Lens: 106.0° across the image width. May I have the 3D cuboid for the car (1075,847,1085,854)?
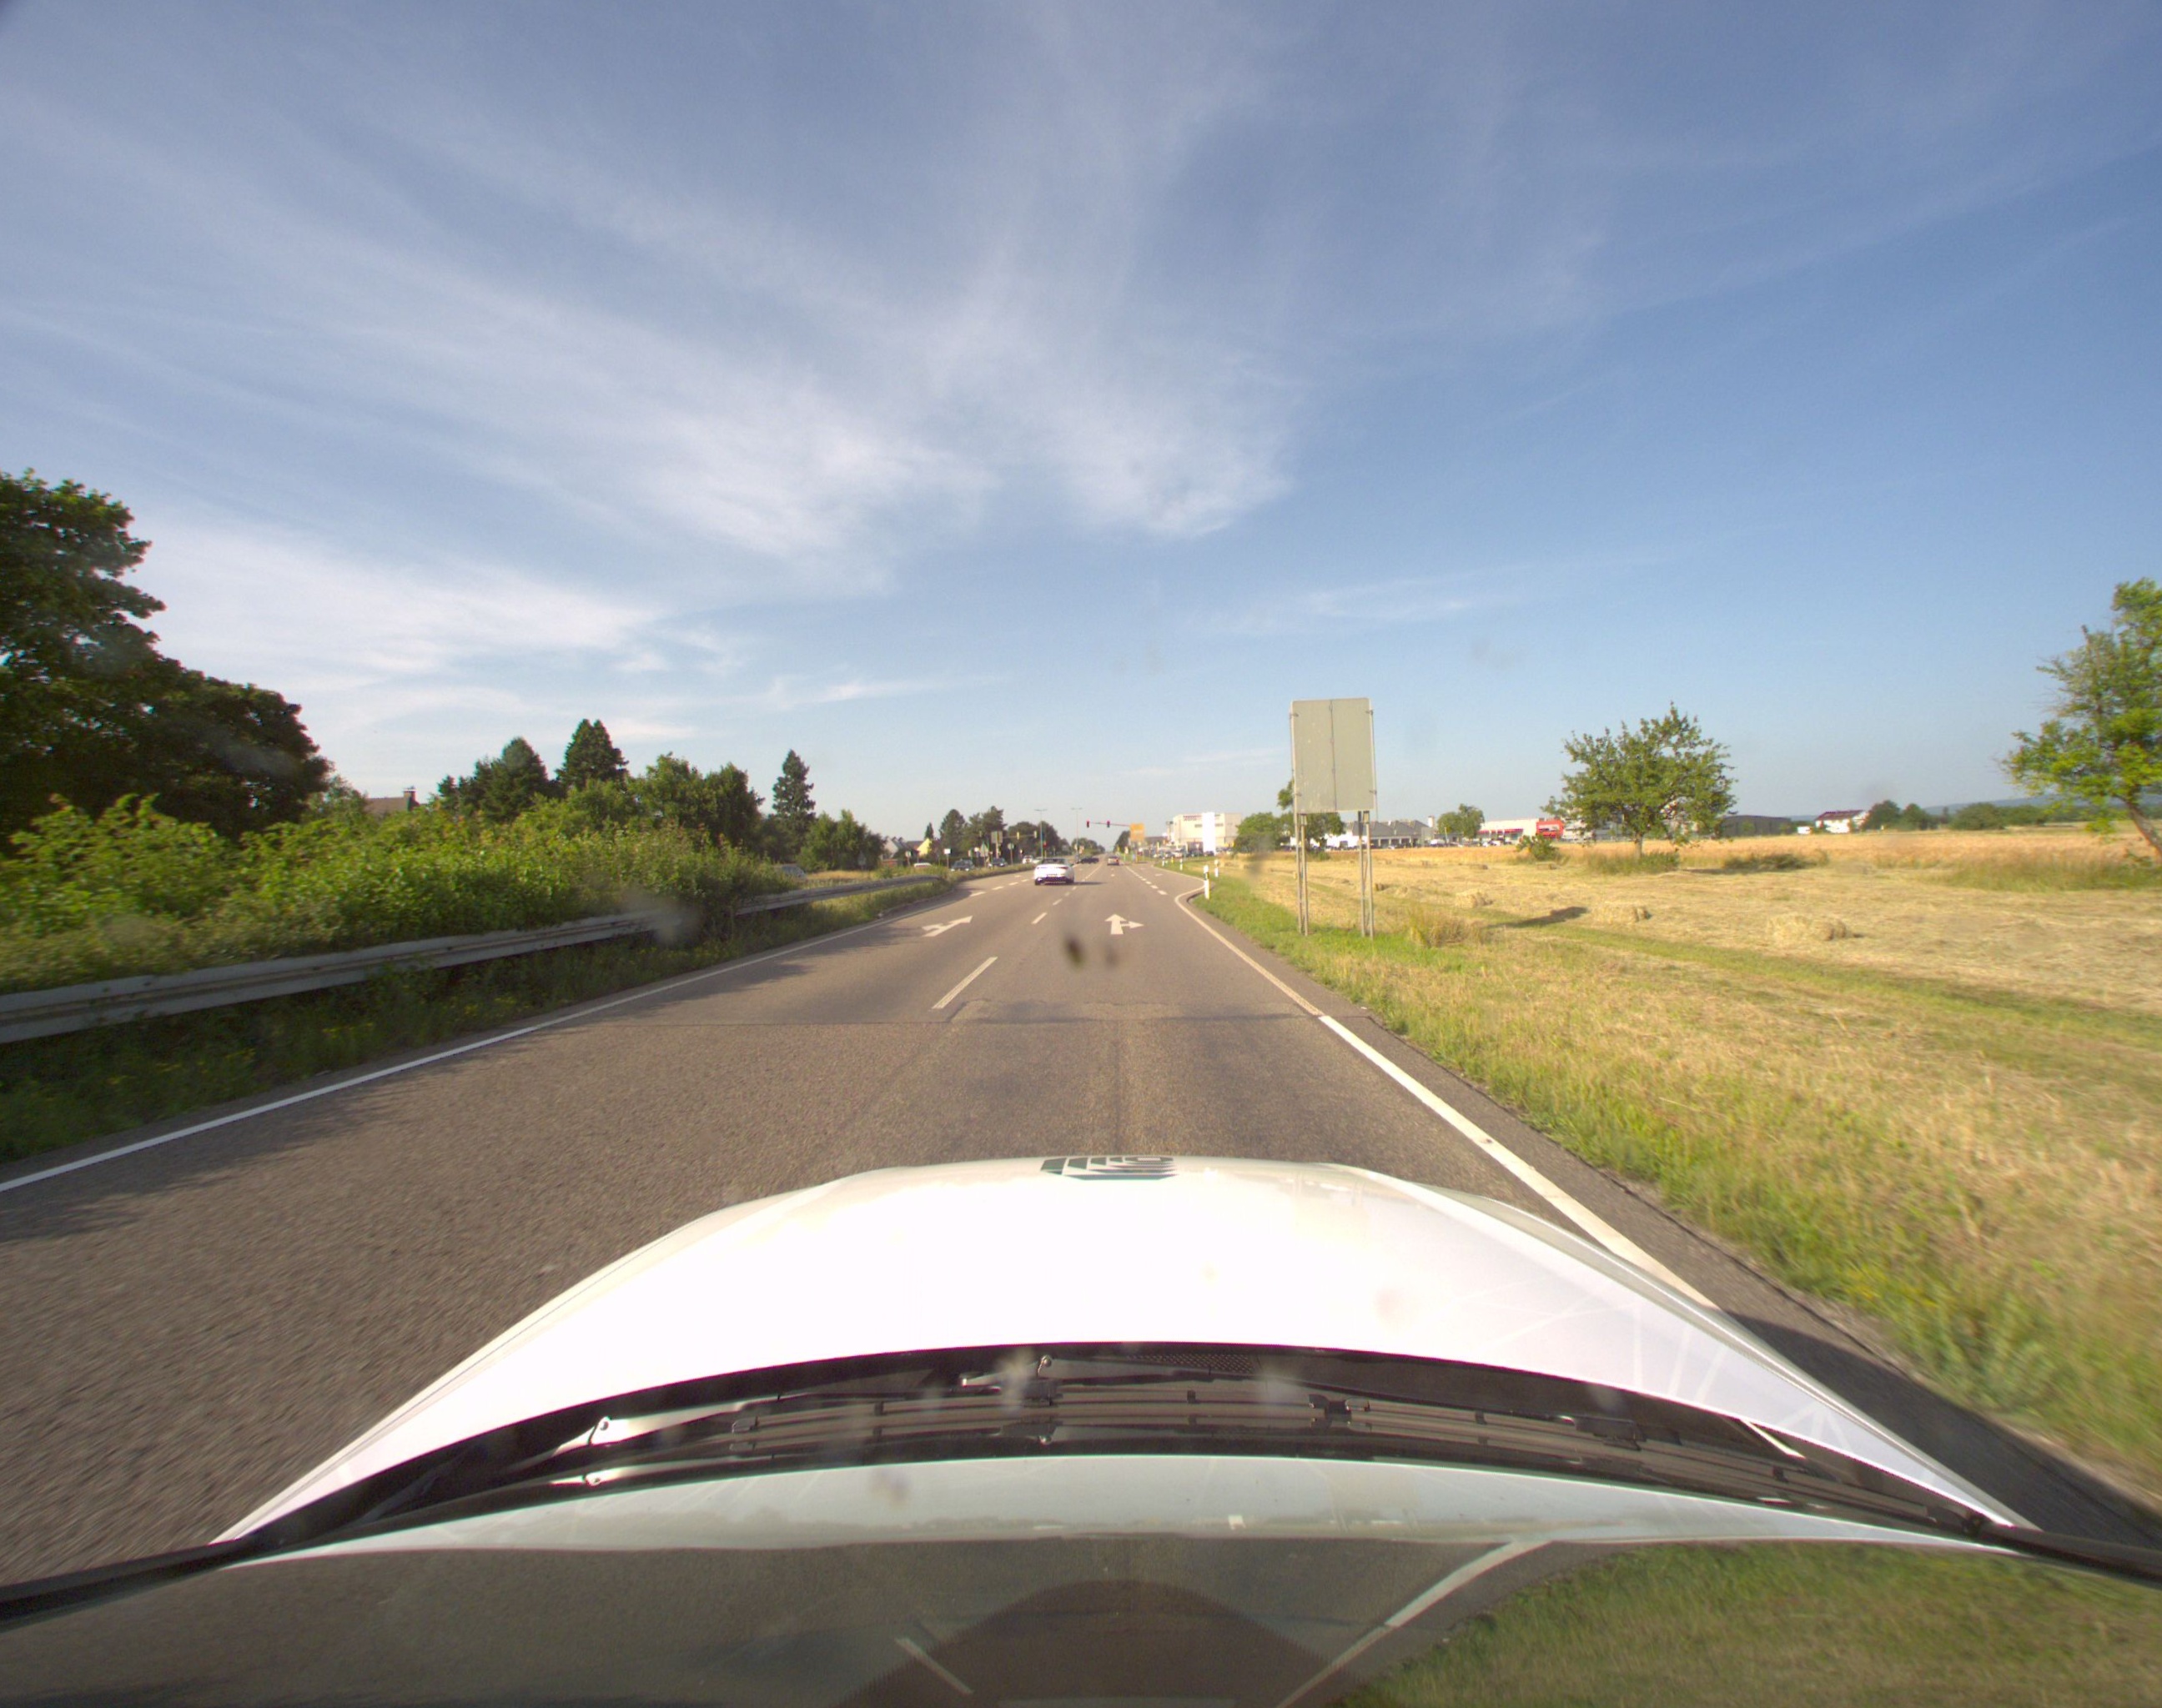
[{"bbox_3d":[-0.302,-0.721,176.945,1.939,1.408,4.003,-1,0,3],"label":"car"}]

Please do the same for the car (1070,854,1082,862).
[{"bbox_3d":[-0.956,0.681,152.187,1.939,1.408,4.003,-1,0,3],"label":"car"}]

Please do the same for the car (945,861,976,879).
[{"bbox_3d":[-10.722,1.369,72.861,1.986,1.486,4.228,-1,0,1],"label":"car"}]

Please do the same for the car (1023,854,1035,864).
[{"bbox_3d":[-10.201,0.943,159.356,1.939,1.800,4.003,-1,0,3],"label":"car"}]

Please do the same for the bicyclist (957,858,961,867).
[{"bbox_3d":[-18.345,1.221,122.275,0.454,1.352,0.552,-2,0,-1],"label":"bicyclist"}]

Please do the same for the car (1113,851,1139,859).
[{"bbox_3d":[7.831,0.142,141.043,3.998,1.408,1.942,-1,0,-18],"label":"car"}]

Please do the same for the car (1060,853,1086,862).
[{"bbox_3d":[-1.349,0.581,138.375,4.000,1.408,1.941,-1,0,-20],"label":"car"}]

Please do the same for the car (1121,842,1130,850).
[{"bbox_3d":[10.489,-1.903,191.004,1.985,1.757,4.004,-1,0,3],"label":"car"}]

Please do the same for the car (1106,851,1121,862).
[{"bbox_3d":[4.627,0.296,116.588,1.986,1.486,4.001,-1,0,1],"label":"car"}]

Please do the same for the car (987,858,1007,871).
[{"bbox_3d":[-9.782,1.203,95.556,1.722,1.408,4.003,-1,0,3],"label":"car"}]

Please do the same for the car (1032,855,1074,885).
[{"bbox_3d":[-1.404,0.788,42.042,1.903,1.422,4.001,-1,0,1],"label":"car"}]

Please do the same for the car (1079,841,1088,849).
[{"bbox_3d":[0.521,-2.170,191.206,1.939,1.772,4.003,-1,0,3],"label":"car"}]

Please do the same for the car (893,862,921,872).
[{"bbox_3d":[-27.812,2.070,130.631,4.179,1.522,1.996,-1,0,-7],"label":"car"}]
